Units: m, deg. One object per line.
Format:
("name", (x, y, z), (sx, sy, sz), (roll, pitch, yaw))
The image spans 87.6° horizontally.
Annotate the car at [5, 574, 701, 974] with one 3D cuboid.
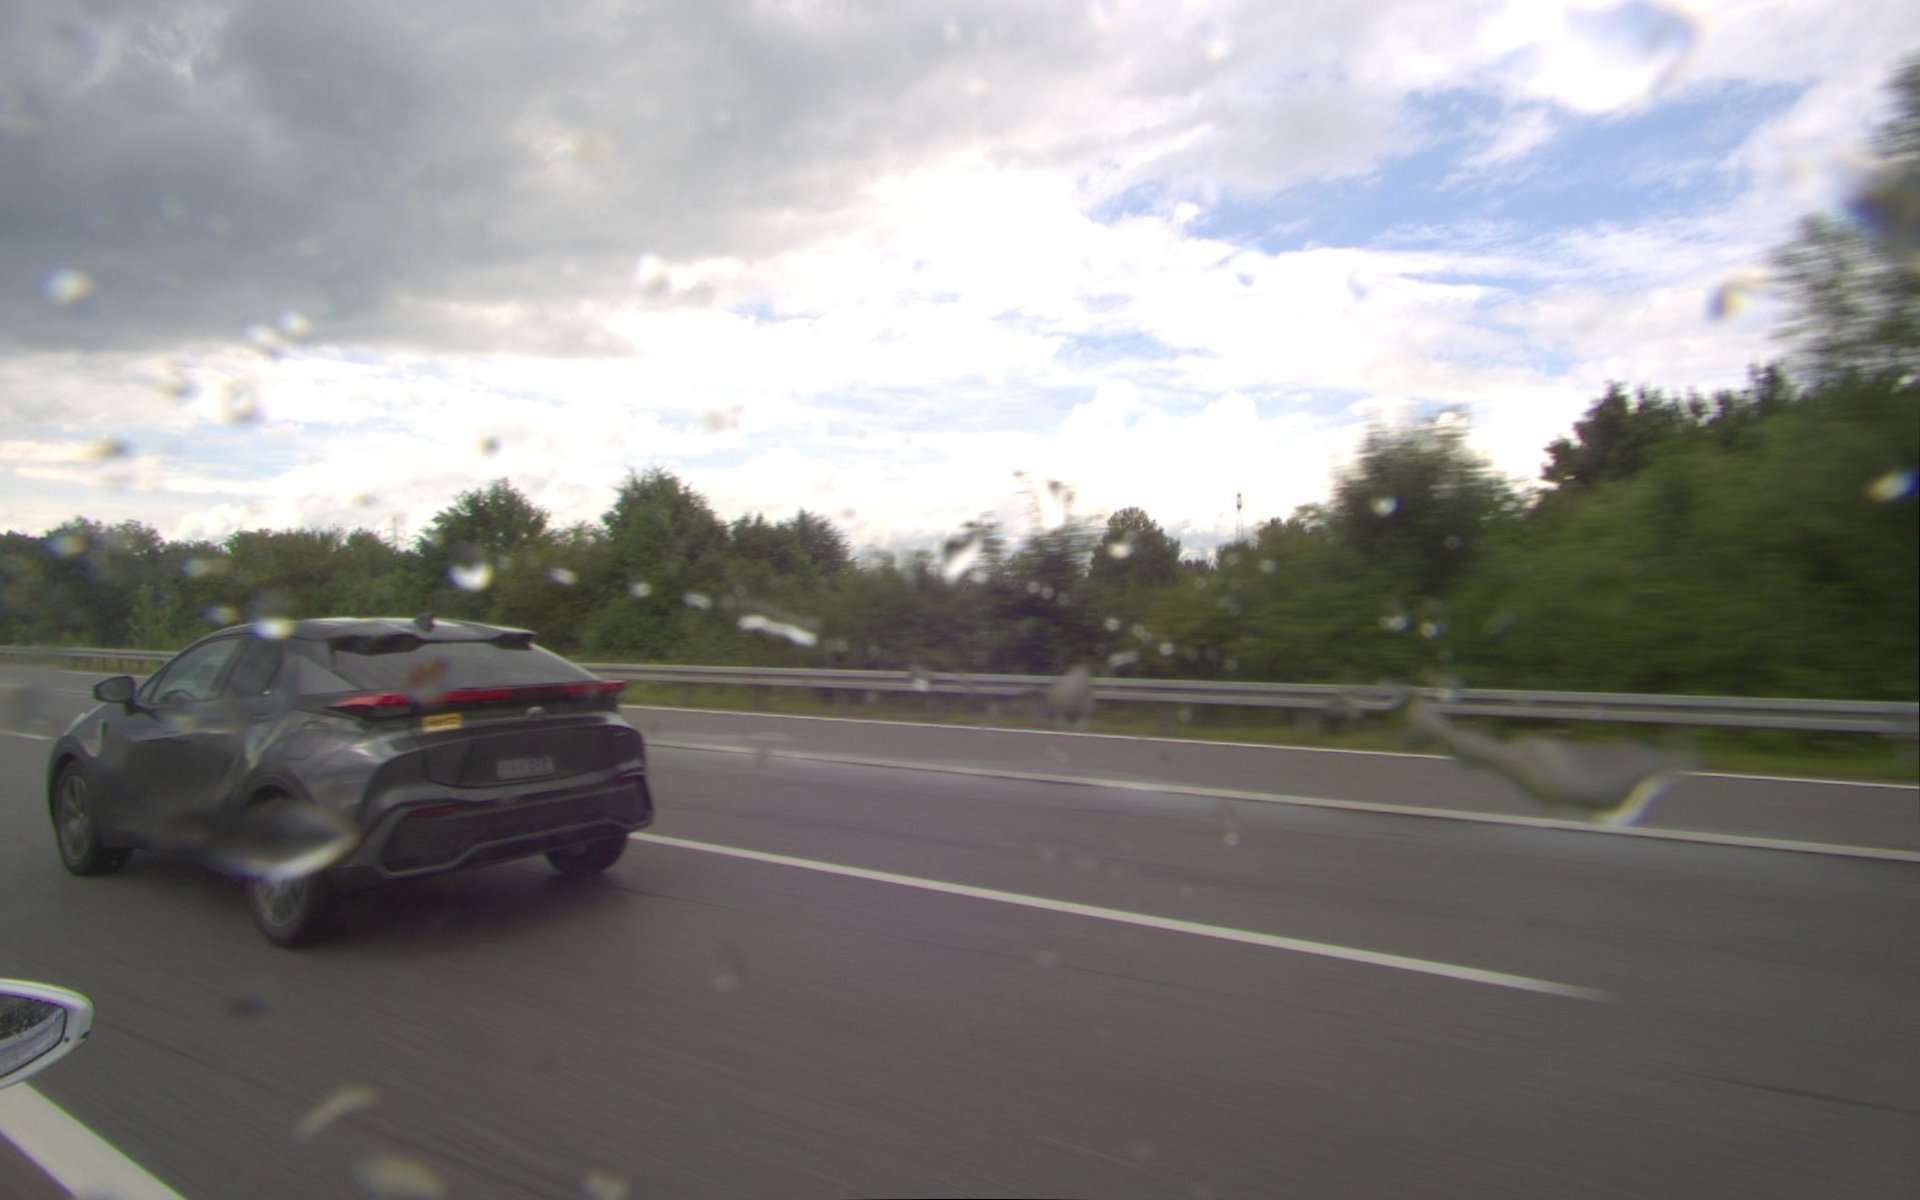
("car", (-3.828, 0.759, 6.058), (4.532, 1.634, 1.778), (-1, -1, 32))
